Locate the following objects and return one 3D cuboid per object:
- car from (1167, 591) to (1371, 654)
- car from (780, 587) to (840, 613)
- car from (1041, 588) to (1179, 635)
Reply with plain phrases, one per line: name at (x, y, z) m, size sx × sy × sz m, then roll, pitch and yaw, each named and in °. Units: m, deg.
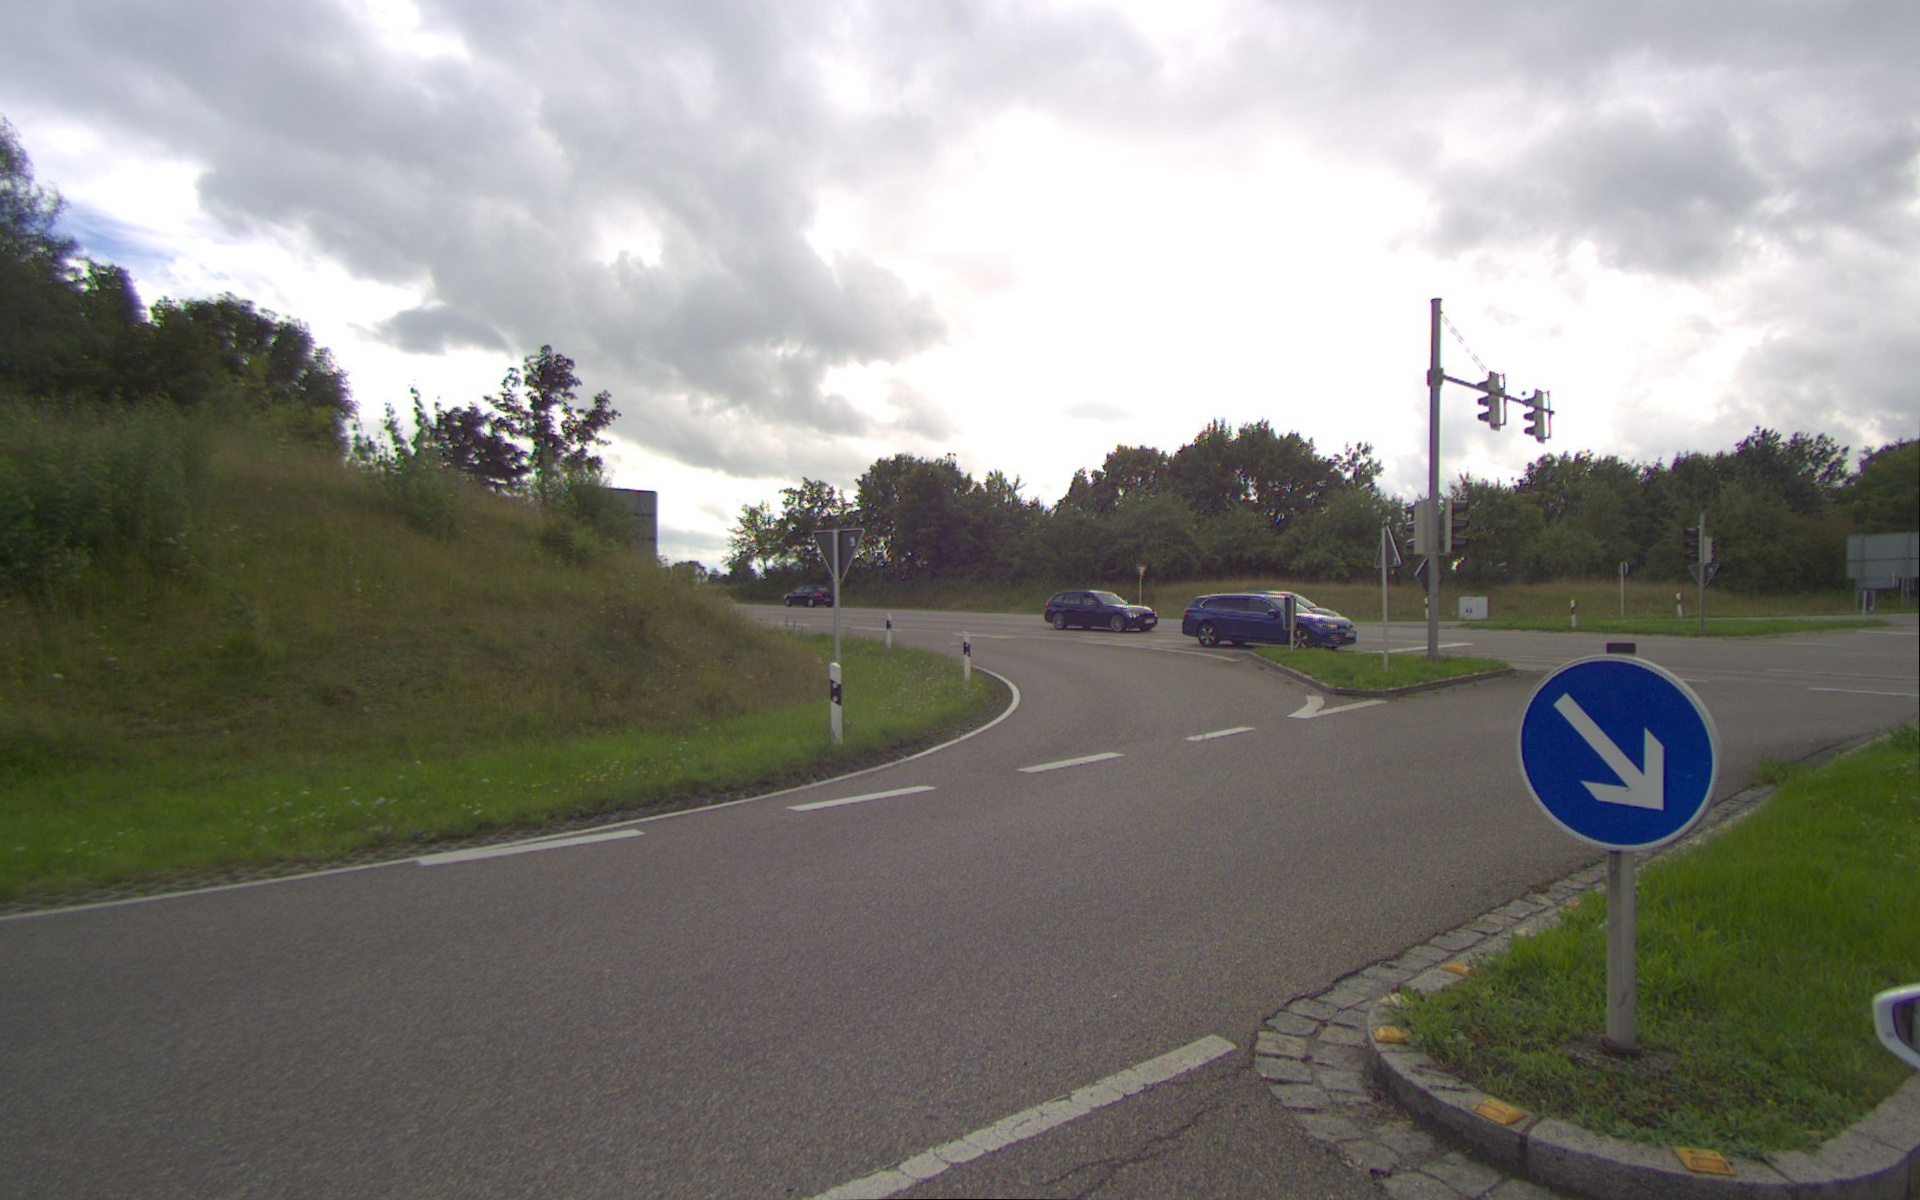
car at (8.444, 0.540, 27.806) m, size 2.038 × 1.555 × 5.060 m, roll -1°, pitch 2°, yaw -44°
car at (-10.101, -0.007, 67.542) m, size 3.942 × 1.712 × 1.839 m, roll 1°, pitch 0°, yaw 42°
car at (5.414, 0.366, 36.740) m, size 2.040 × 1.504 × 4.820 m, roll -2°, pitch 3°, yaw -43°
